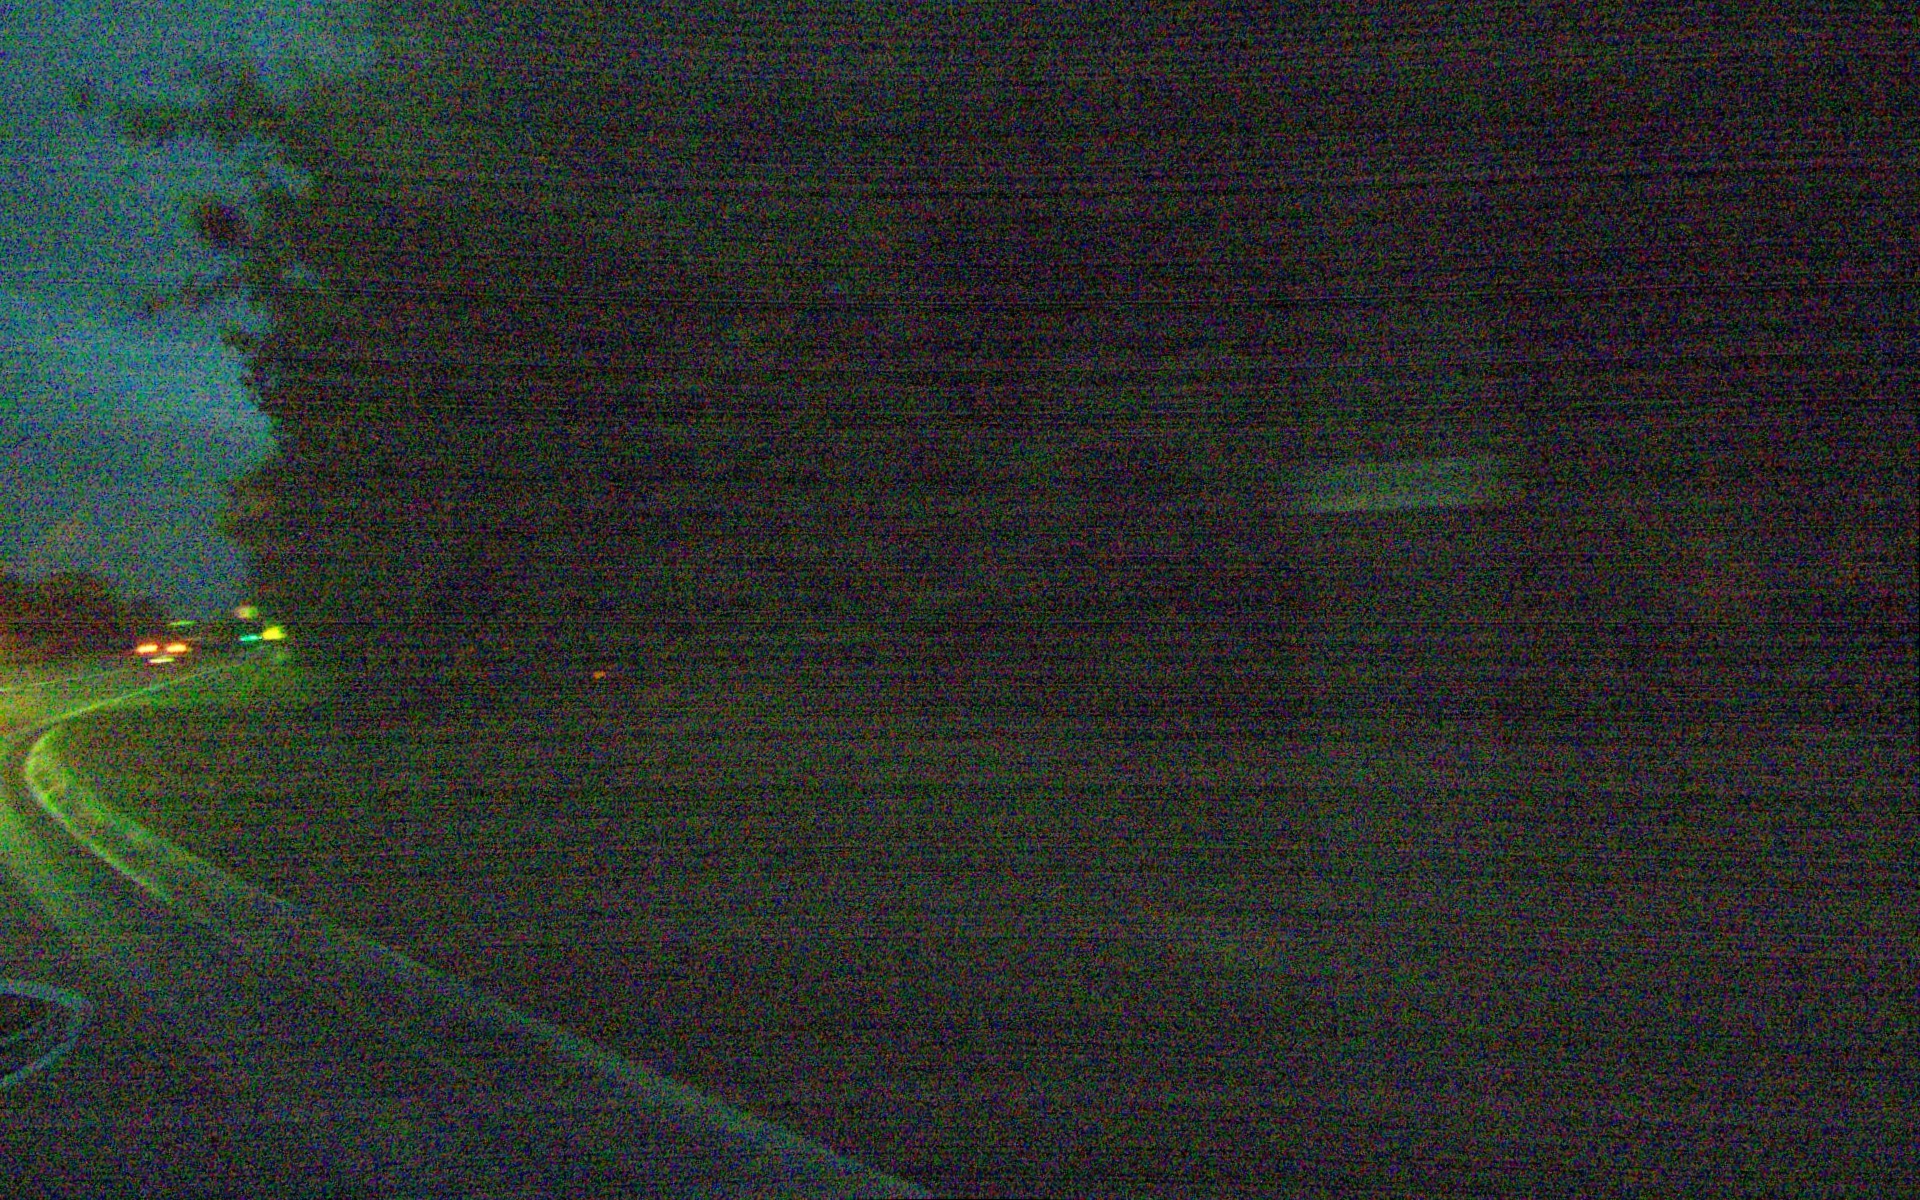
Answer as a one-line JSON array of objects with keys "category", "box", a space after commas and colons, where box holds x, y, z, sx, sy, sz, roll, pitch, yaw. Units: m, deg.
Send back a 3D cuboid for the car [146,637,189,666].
[{"category": "car", "box": [-41.822, 2.712, 52.899, 1.738, 1.471, 4.400, 1, -3, -38]}]
